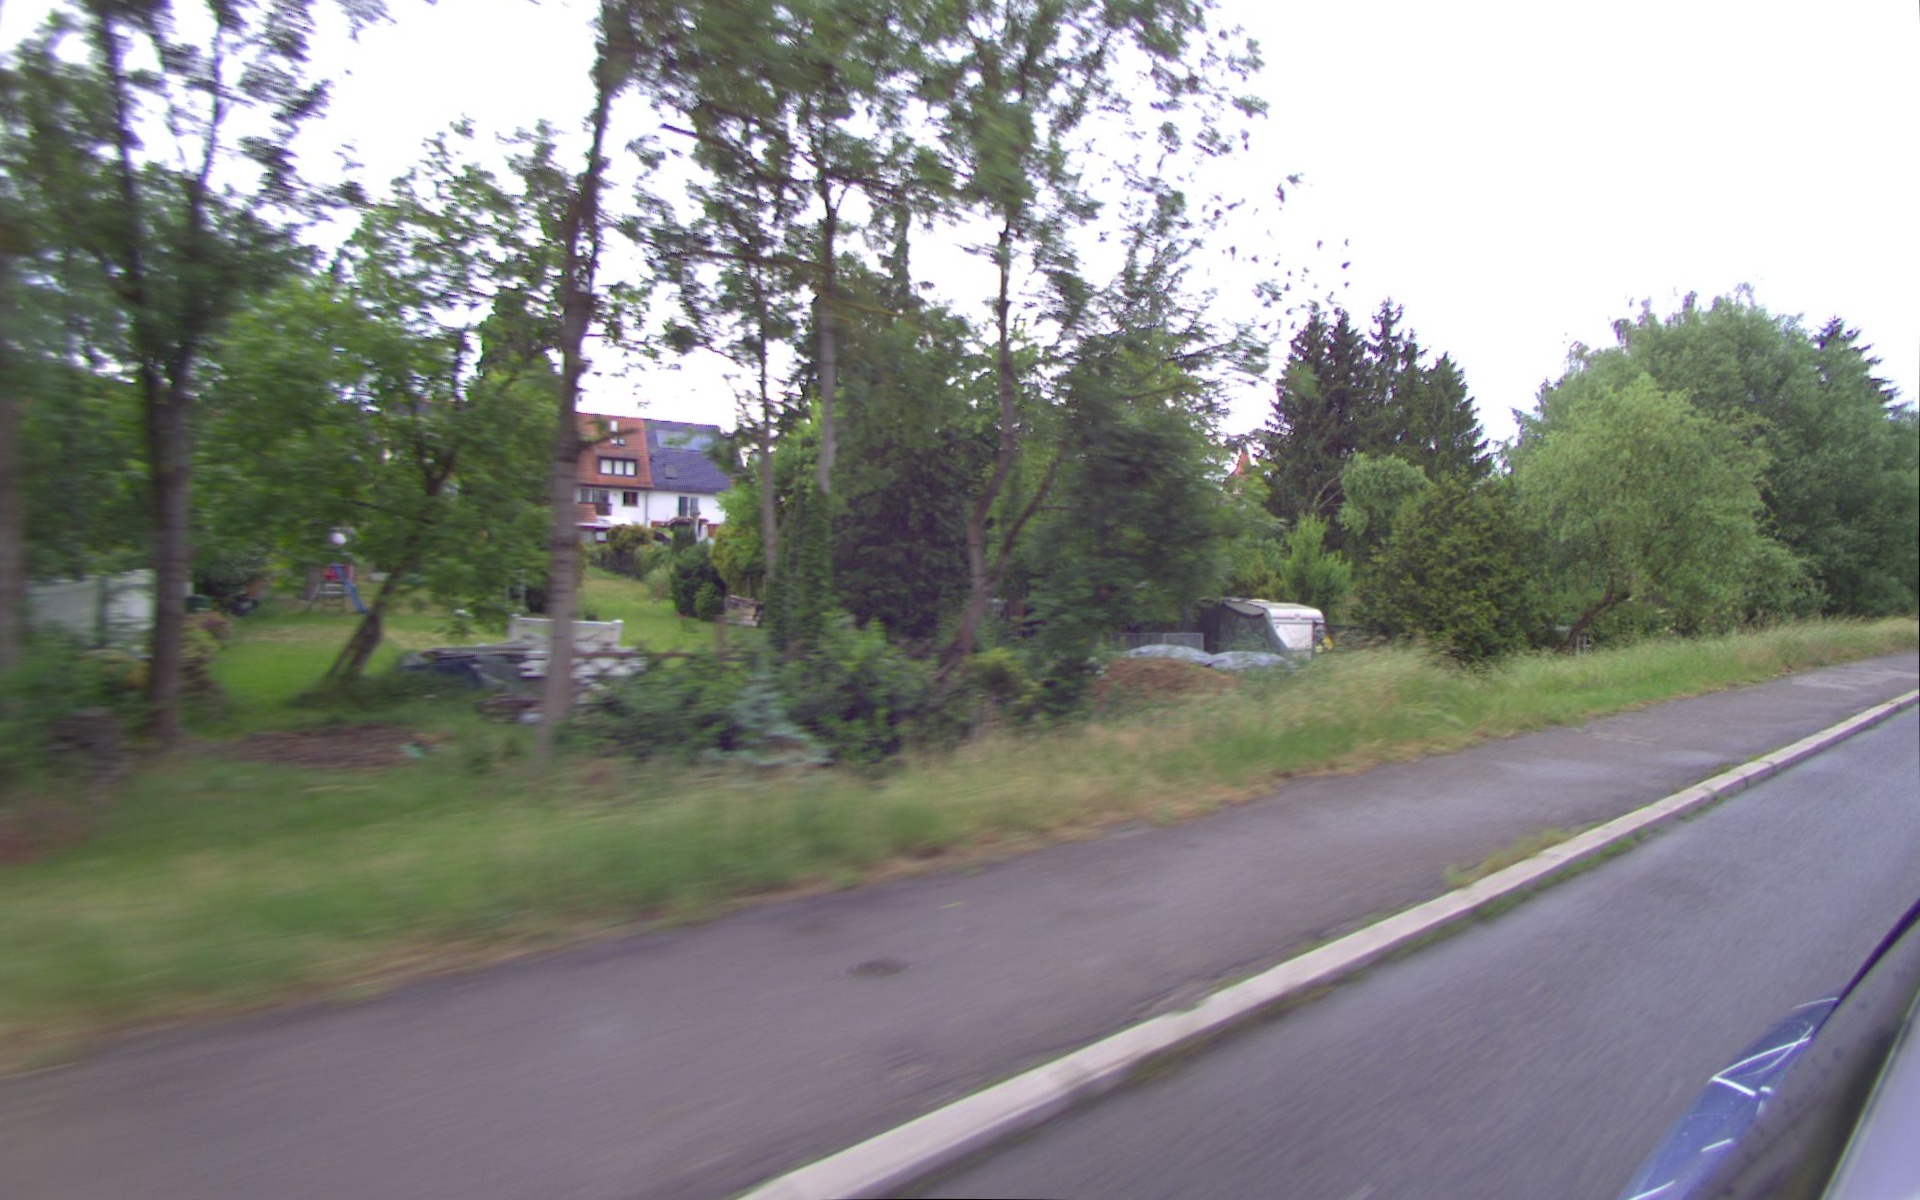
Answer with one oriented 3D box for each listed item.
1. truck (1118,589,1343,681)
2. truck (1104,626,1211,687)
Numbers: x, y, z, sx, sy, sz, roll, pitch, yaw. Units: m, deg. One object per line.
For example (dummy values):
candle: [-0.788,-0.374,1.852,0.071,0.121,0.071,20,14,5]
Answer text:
truck: [7.773,0.883,30.158,2.026,2.388,7.074,0,1,-31]
truck: [5.252,1.470,27.084,1.723,1.415,2.364,0,1,-28]
